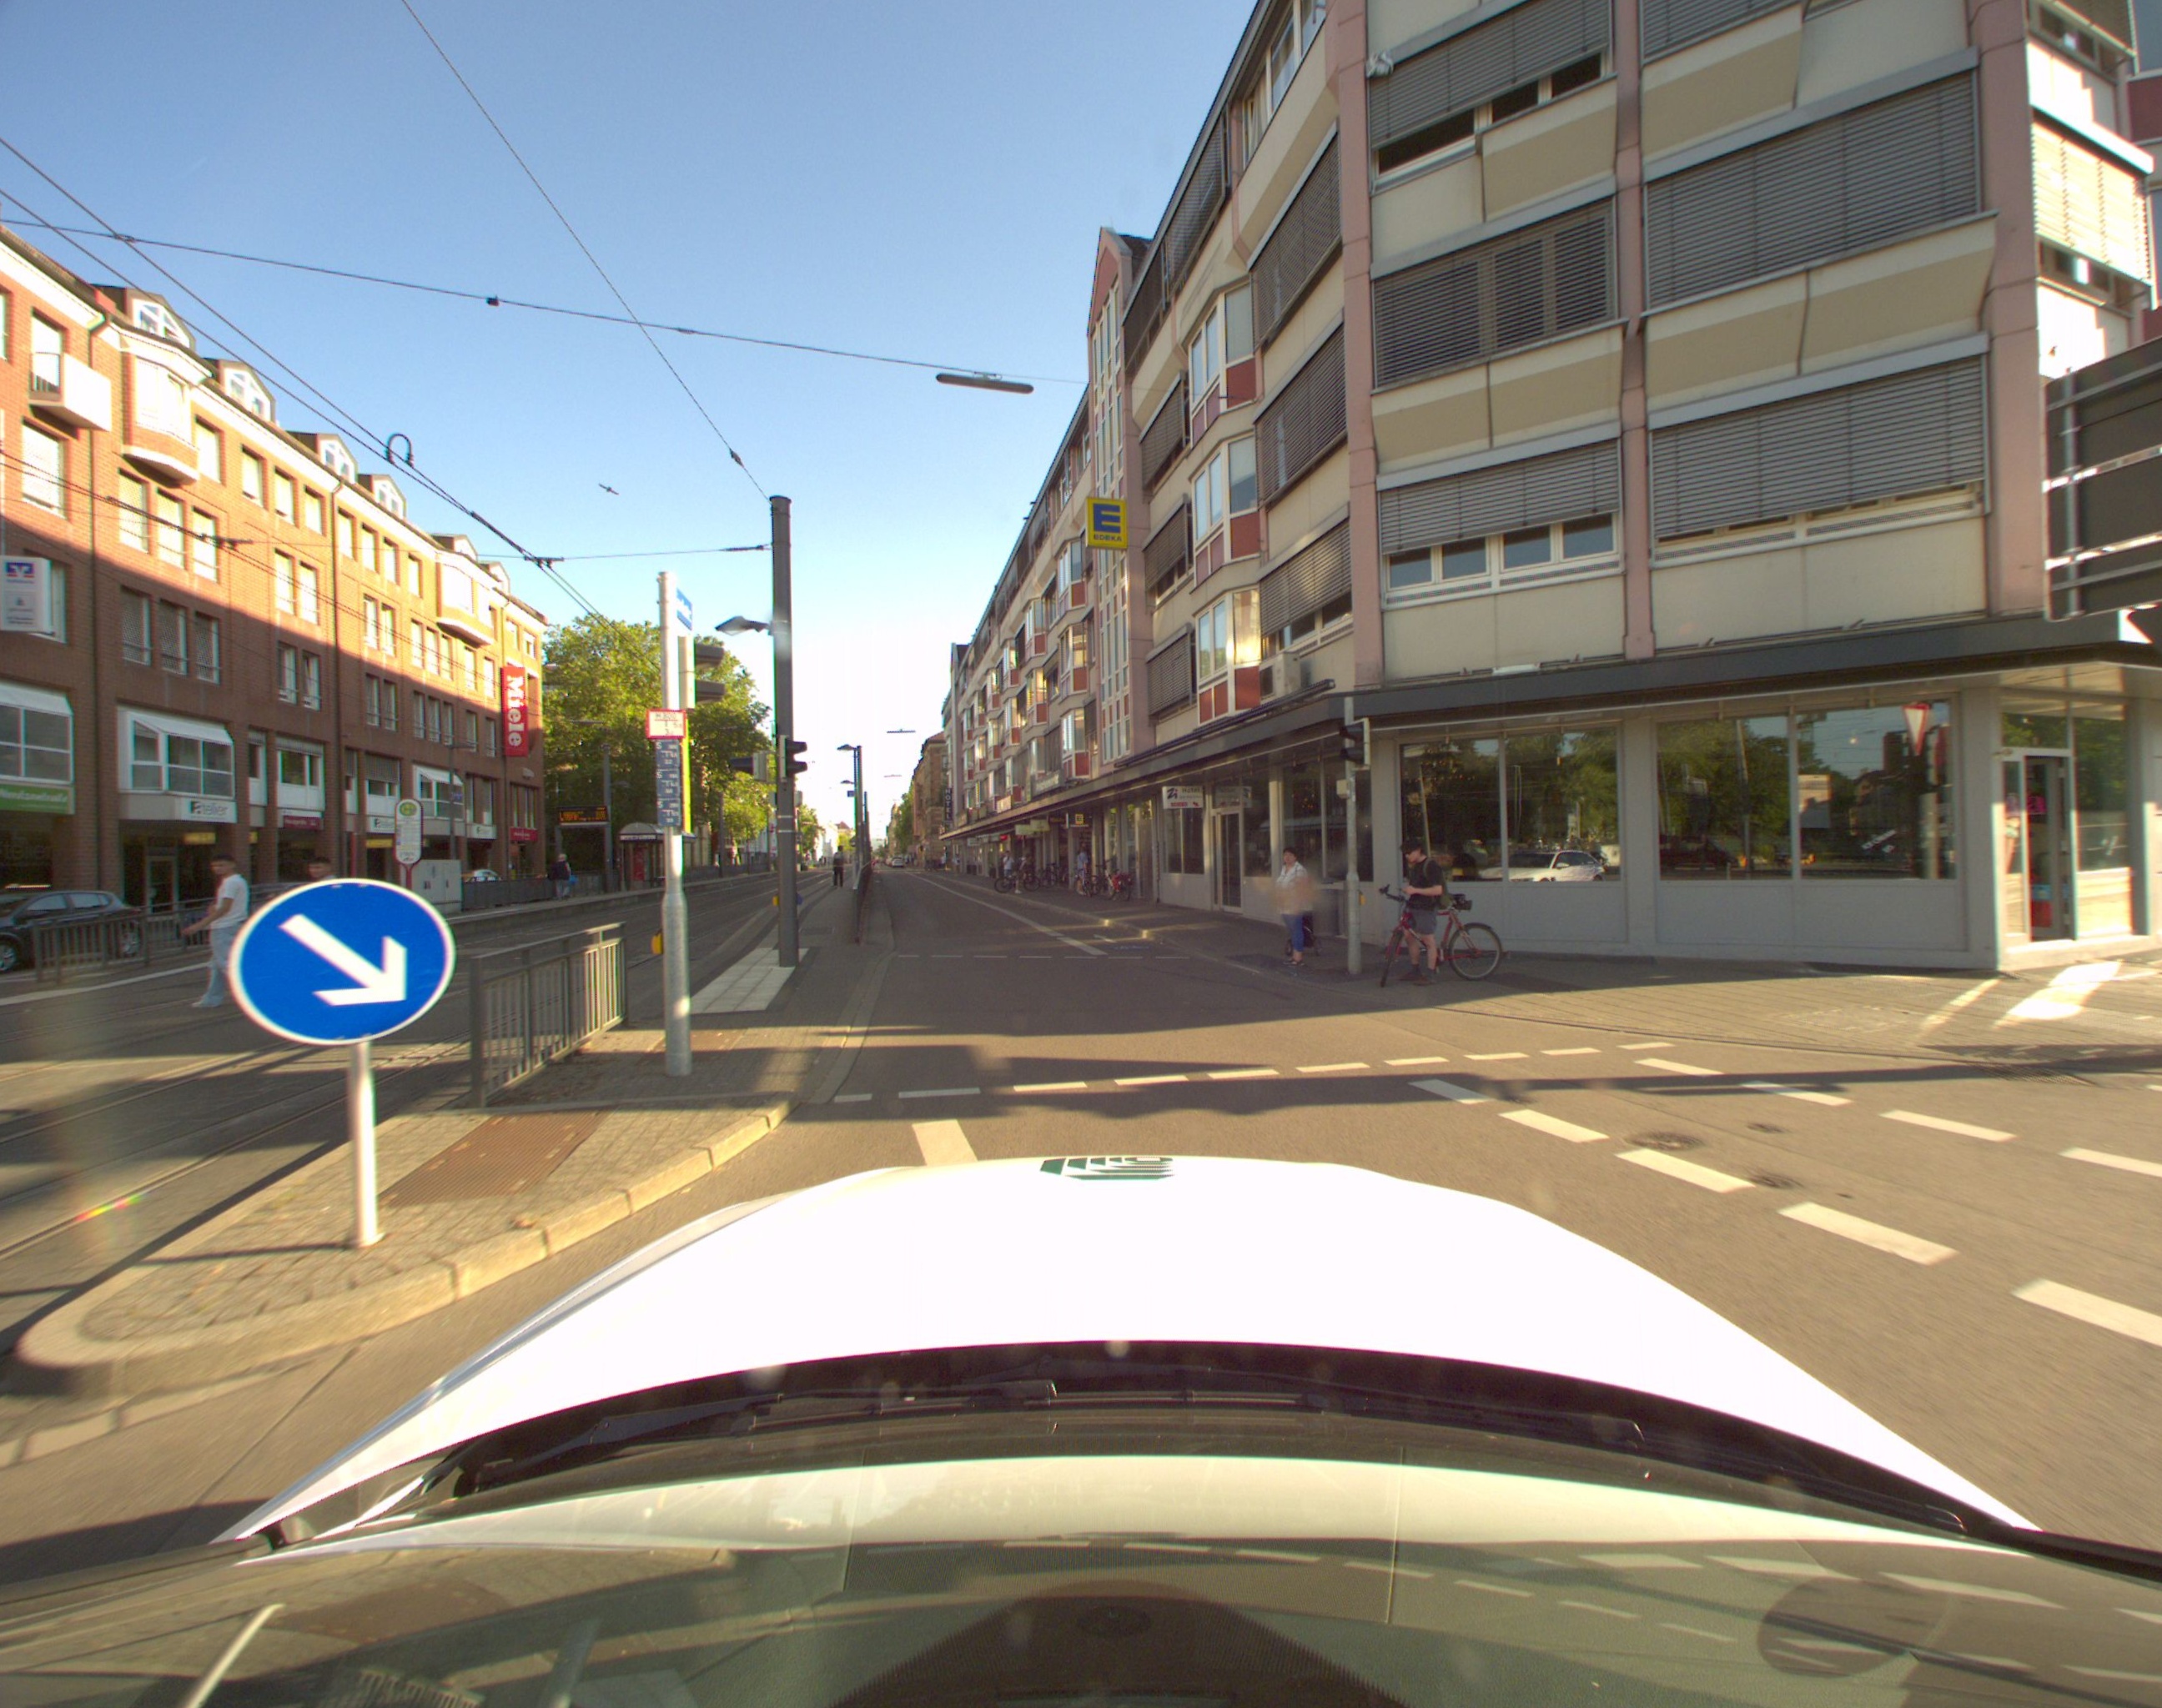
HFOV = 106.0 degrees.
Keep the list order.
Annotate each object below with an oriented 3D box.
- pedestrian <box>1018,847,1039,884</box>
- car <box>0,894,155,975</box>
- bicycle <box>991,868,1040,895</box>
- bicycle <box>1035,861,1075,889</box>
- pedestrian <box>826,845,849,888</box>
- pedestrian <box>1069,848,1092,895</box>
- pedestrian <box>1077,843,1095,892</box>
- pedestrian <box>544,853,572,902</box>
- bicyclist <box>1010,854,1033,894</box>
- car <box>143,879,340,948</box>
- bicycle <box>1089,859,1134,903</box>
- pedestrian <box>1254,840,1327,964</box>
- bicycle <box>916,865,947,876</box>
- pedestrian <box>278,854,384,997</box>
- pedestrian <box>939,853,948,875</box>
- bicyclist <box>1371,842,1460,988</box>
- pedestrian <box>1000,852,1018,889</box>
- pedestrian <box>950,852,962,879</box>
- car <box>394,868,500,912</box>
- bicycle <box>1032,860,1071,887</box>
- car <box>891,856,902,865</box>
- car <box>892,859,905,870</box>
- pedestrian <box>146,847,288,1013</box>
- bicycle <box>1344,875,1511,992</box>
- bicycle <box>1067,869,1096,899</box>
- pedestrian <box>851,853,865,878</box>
[{"bbox_3d":[-2.525,0.556,39.319,0.813,1.778,0.682,0,1,10],"label":"pedestrian"},{"bbox_3d":[-20.495,1.546,15.512,1.746,1.244,3.921,-1,1,-12],"label":"car"},{"bbox_3d":[-2.653,1.089,32.908,1.900,0.930,0.628,-4,1,-4],"label":"bicycle"},{"bbox_3d":[-1.100,0.901,34.867,1.649,1.119,0.481,-1,1,-20],"label":"bicycle"},{"bbox_3d":[-9.788,0.490,32.770,0.782,1.659,0.678,-1,1,-25],"label":"pedestrian"},{"bbox_3d":[-0.006,0.607,28.802,0.603,1.635,0.607,0,1,26],"label":"pedestrian"},{"bbox_3d":[0.189,0.512,31.144,0.609,1.852,0.602,-1,1,-10],"label":"pedestrian"},{"bbox_3d":[-17.482,0.767,27.225,0.695,1.577,0.614,-2,1,-40],"label":"pedestrian"},{"bbox_3d":[-2.389,0.785,32.574,0.798,1.532,0.628,-4,1,-4],"label":"bicyclist"},{"bbox_3d":[-22.088,1.499,21.674,1.747,1.424,3.920,-1,1,-13],"label":"car"},{"bbox_3d":[0.865,0.761,24.084,0.728,1.226,2.321,-1,0,-14],"label":"bicycle"},{"bbox_3d":[2.913,0.645,11.347,0.637,1.662,0.708,-1,-1,-43],"label":"pedestrian"},{"bbox_3d":[-15.671,1.697,85.606,3.191,0.992,0.890,-2,2,-43],"label":"bicycle"},{"bbox_3d":[-9.490,0.854,10.311,0.616,1.694,0.873,0,1,39],"label":"pedestrian"},{"bbox_3d":[-13.169,0.936,77.919,0.773,2.013,0.503,-1,1,-11],"label":"pedestrian"},{"bbox_3d":[3.878,0.675,9.469,0.657,1.596,0.637,-4,2,-16],"label":"bicyclist"},{"bbox_3d":[-3.262,0.744,36.901,0.750,1.644,0.548,-1,1,-10],"label":"pedestrian"},{"bbox_3d":[-9.467,0.838,61.611,0.839,2.013,0.775,-1,1,-10],"label":"pedestrian"},{"bbox_3d":[-24.638,1.355,31.812,1.747,1.424,3.920,-1,1,-13],"label":"car"},{"bbox_3d":[-1.304,0.869,36.278,1.649,1.119,0.562,-1,1,-20],"label":"bicycle"},{"bbox_3d":[-35.263,1.208,155.667,1.996,1.552,3.983,-1,1,-13],"label":"car"},{"bbox_3d":[-29.795,1.712,133.099,1.996,1.552,3.983,-1,1,-13],"label":"car"},{"bbox_3d":[-9.771,0.808,9.257,1.011,1.764,0.505,-2,1,-39],"label":"pedestrian"},{"bbox_3d":[4.052,0.892,9.524,1.768,1.145,0.637,-4,2,-16],"label":"bicycle"},{"bbox_3d":[-0.006,0.985,26.972,0.500,0.917,2.069,-1,0,-14],"label":"bicycle"},{"bbox_3d":[-15.259,0.802,55.769,0.782,1.659,0.678,-1,1,-25],"label":"pedestrian"}]
